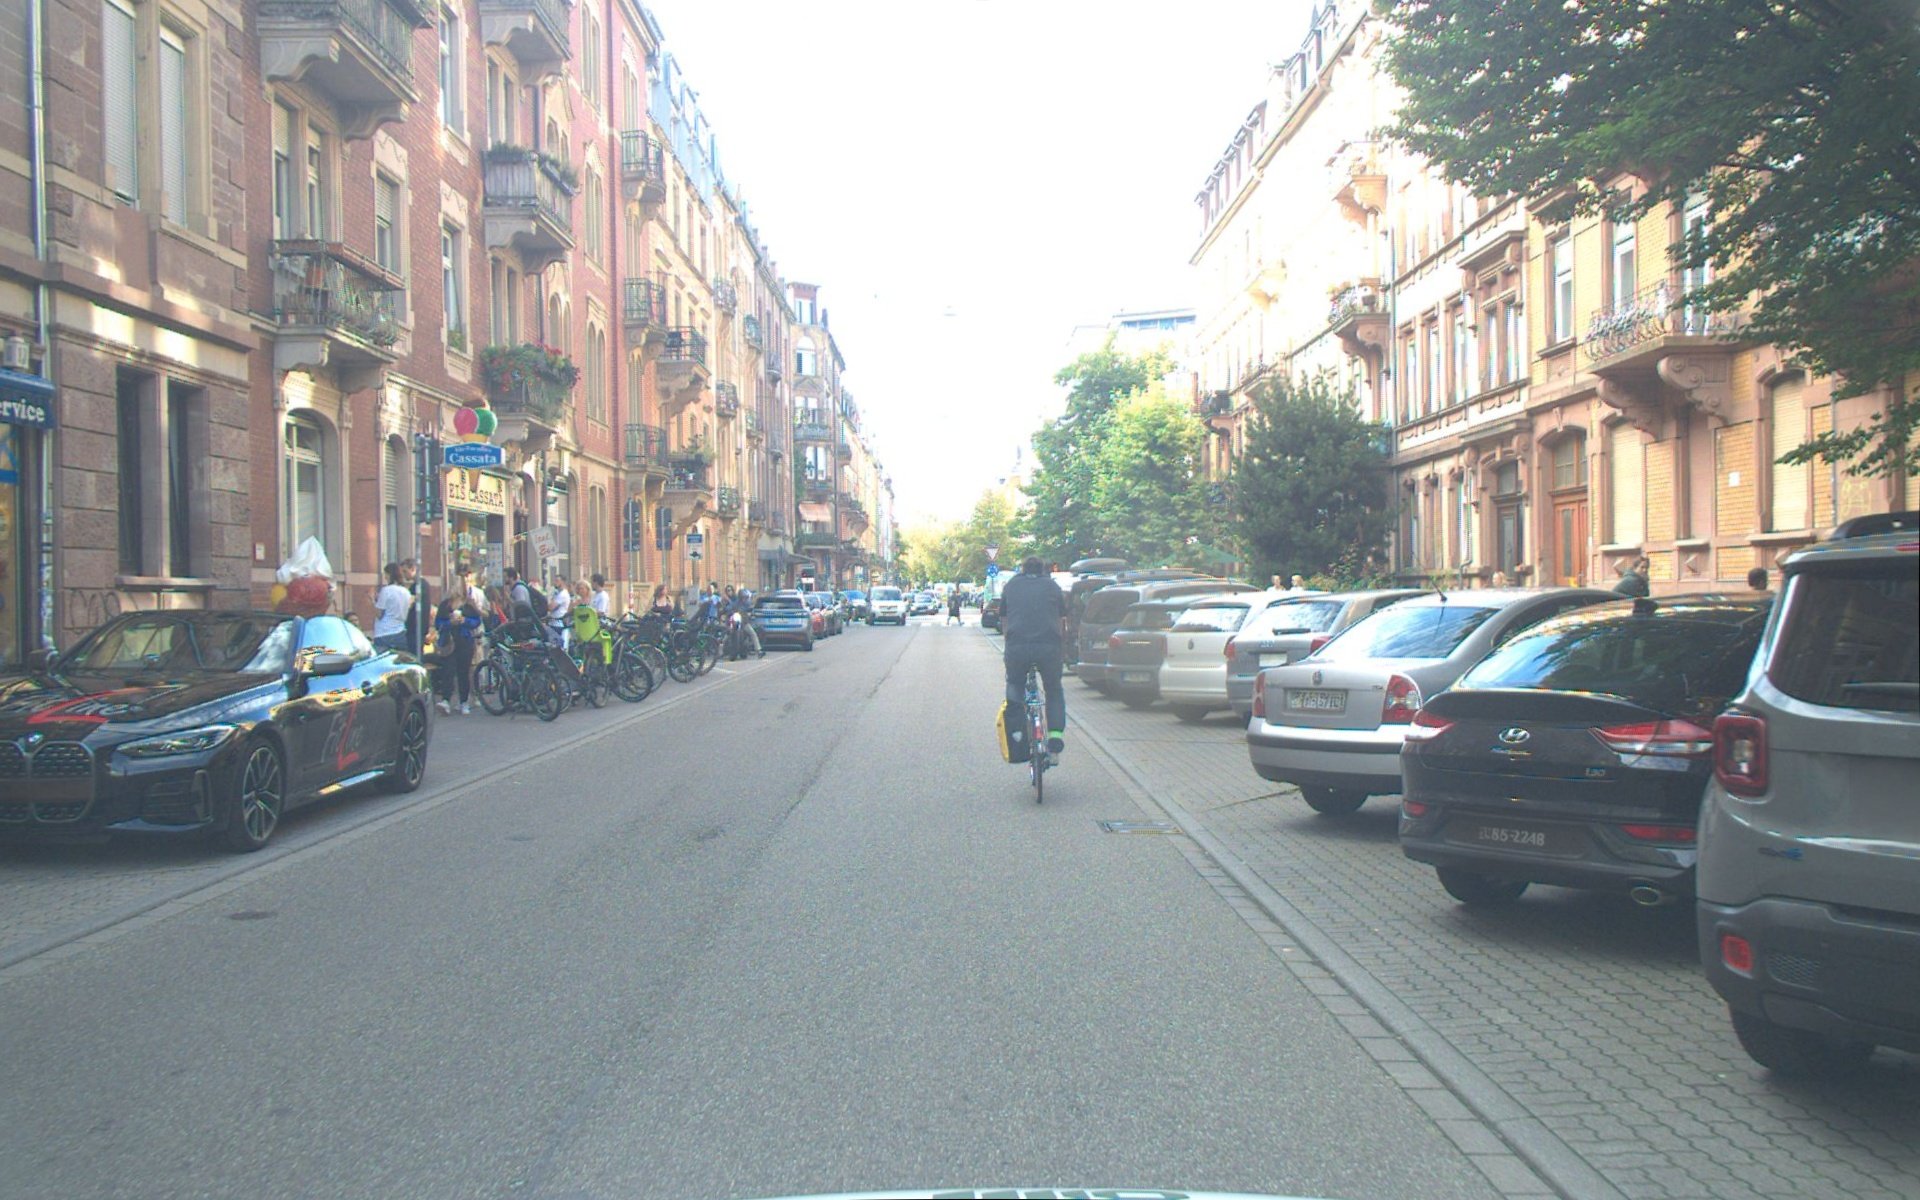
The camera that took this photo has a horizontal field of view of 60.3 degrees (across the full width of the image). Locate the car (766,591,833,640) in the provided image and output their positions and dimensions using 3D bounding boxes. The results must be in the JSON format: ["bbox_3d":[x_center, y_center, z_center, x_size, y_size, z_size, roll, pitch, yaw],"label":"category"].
[{"bbox_3d":[-5.480,0.520,56.900,1.953,1.572,4.425,-1,0,-1],"label":"car"}]

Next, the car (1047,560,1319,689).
[{"bbox_3d":[3.731,0.378,27.430,4.349,1.854,1.735,-3,0,-33],"label":"car"}]

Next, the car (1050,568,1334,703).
[{"bbox_3d":[3.503,0.488,24.779,3.948,1.771,1.820,-2,0,-32],"label":"car"}]

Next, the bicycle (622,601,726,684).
[{"bbox_3d":[-4.772,0.704,27.672,1.659,1.345,0.521,1,0,-37],"label":"bicycle"}]

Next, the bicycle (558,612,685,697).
[{"bbox_3d":[-5.021,0.790,24.555,1.771,1.221,0.583,1,0,-37],"label":"bicycle"}]

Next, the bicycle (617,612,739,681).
[{"bbox_3d":[-5.060,0.816,29.824,0.792,1.179,2.261,1,0,36],"label":"bicycle"}]

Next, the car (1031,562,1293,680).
[{"bbox_3d":[3.685,0.363,30.714,4.543,1.815,1.810,-4,2,-2],"label":"car"}]

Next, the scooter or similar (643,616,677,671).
[{"bbox_3d":[-6.018,0.865,33.210,0.593,1.073,0.921,1,0,-6],"label":"scooter or similar"}]

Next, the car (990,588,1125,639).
[{"bbox_3d":[3.356,0.435,56.586,4.419,1.490,1.856,-4,2,-36],"label":"car"}]

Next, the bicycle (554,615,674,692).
[{"bbox_3d":[-5.255,0.796,25.140,1.719,1.140,0.548,1,0,-37],"label":"bicycle"}]

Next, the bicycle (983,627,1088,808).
[{"bbox_3d":[0.538,0.827,12.610,0.652,1.198,2.497,0,0,-1],"label":"bicycle"}]

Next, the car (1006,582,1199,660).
[{"bbox_3d":[3.423,0.456,39.430,4.408,1.762,1.975,0,1,-36],"label":"car"}]

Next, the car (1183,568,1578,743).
[{"bbox_3d":[4.405,0.520,17.127,3.958,1.486,1.863,-3,-1,-37],"label":"car"}]

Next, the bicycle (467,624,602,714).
[{"bbox_3d":[-5.209,0.834,20.219,1.646,1.048,0.409,0,0,20],"label":"bicycle"}]

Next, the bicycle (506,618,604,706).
[{"bbox_3d":[-5.431,0.810,22.252,0.566,1.109,1.739,1,0,12],"label":"bicycle"}]

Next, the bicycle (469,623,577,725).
[{"bbox_3d":[-5.144,0.849,19.421,1.551,1.136,0.372,0,0,39],"label":"bicycle"}]

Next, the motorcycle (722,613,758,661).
[{"bbox_3d":[-4.980,0.827,37.526,0.778,1.012,2.495,1,0,-7],"label":"motorcycle"}]

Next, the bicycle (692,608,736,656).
[{"bbox_3d":[-5.882,0.747,39.580,0.482,1.114,1.906,1,0,8],"label":"bicycle"}]

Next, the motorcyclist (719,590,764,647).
[{"bbox_3d":[-4.951,0.411,37.561,0.994,1.267,0.802,0,0,-7],"label":"motorcyclist"}]

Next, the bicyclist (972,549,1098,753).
[{"bbox_3d":[0.559,0.380,12.677,0.914,1.510,0.747,0,0,-1],"label":"bicyclist"}]

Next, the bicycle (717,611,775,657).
[{"bbox_3d":[-5.144,0.818,39.909,0.472,1.078,1.904,1,0,23],"label":"bicycle"}]

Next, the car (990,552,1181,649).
[{"bbox_3d":[3.472,-0.006,45.157,5.098,2.447,1.895,-2,0,-34],"label":"car"}]

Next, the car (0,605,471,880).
[{"bbox_3d":[-4.832,0.733,10.980,1.775,1.374,5.113,0,0,-2],"label":"car"}]

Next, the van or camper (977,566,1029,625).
[{"bbox_3d":[2.287,-0.256,90.074,2.481,3.090,4.456,-1,0,-3],"label":"van or camper"}]

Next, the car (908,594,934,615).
[{"bbox_3d":[-2.733,0.342,115.472,1.715,1.461,4.210,0,-1,-2],"label":"car"}]

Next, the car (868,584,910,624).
[{"bbox_3d":[-3.441,0.178,80.826,1.878,1.860,4.438,0,0,0],"label":"car"}]

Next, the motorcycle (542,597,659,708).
[{"bbox_3d":[-4.757,0.667,22.043,0.692,1.408,2.025,1,0,14],"label":"motorcycle"}]

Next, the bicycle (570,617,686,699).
[{"bbox_3d":[-4.802,0.818,23.943,1.554,1.140,0.583,1,0,-37],"label":"bicycle"}]

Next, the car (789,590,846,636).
[{"bbox_3d":[-5.340,0.474,62.481,1.754,1.657,4.846,-1,0,0],"label":"car"}]

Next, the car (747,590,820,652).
[{"bbox_3d":[-4.804,0.546,45.623,1.789,1.606,5.259,0,0,-4],"label":"car"}]

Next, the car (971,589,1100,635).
[{"bbox_3d":[2.989,0.445,65.003,4.701,1.482,2.037,-3,2,-29],"label":"car"}]
